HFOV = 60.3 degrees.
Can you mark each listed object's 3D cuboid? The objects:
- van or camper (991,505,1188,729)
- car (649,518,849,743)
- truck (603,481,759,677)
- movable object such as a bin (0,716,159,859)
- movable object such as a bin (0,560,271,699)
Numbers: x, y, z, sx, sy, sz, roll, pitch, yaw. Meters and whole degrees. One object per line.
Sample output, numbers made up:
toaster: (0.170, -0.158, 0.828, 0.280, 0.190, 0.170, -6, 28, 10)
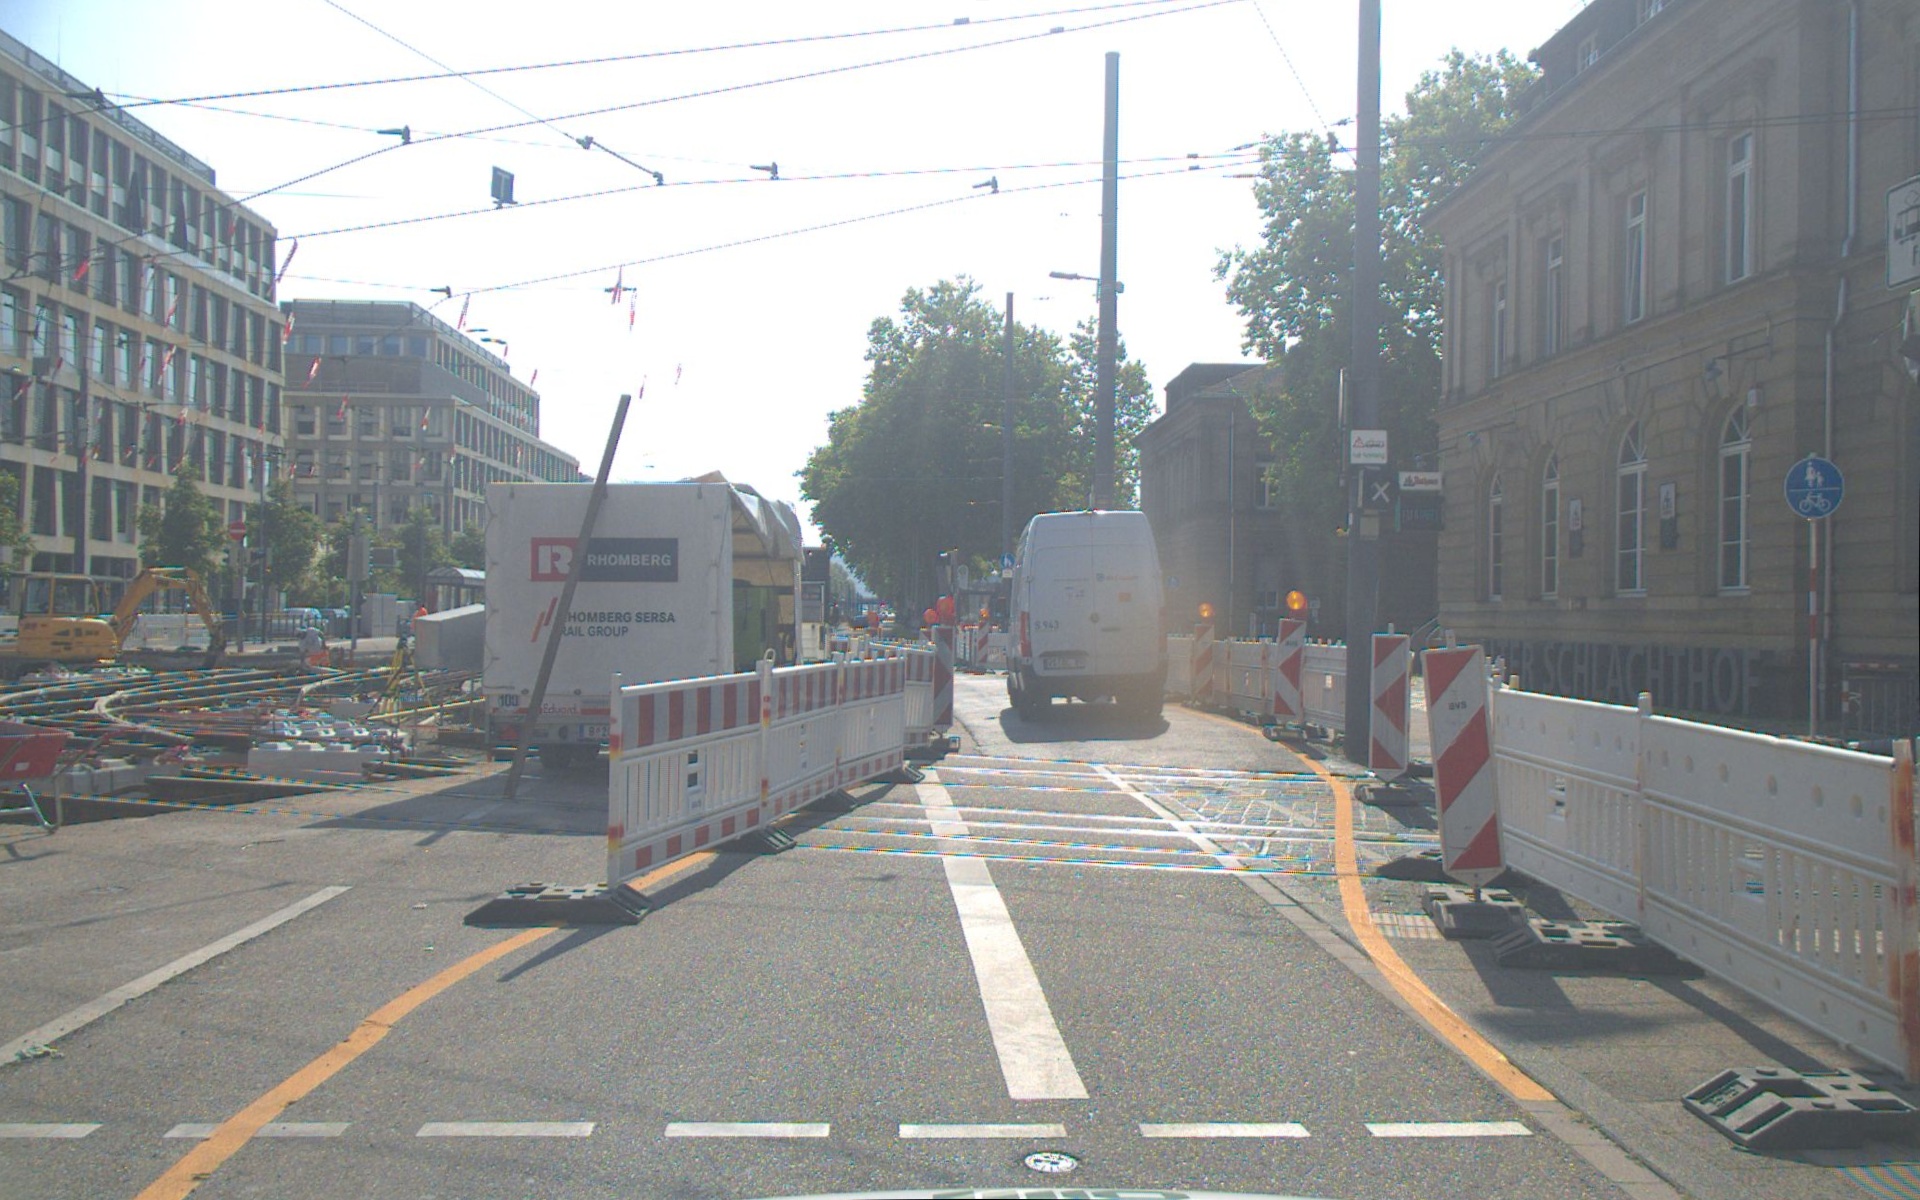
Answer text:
van or camper: (1.665, 0.219, 23.184, 2.073, 2.729, 5.247, -1, 0, -2)
car: (-2.642, 0.415, 21.831, 2.164, 2.467, 7.191, 0, -1, -5)
truck: (-6.684, -0.427, 38.587, 2.746, 3.981, 8.385, 2, -1, -15)
movable object such as a bin: (-5.758, 1.117, 10.145, 1.686, 0.726, 0.716, 0, -1, 31)
movable object such as a bin: (-20.645, 0.772, 41.282, 3.541, 3.010, 8.471, 2, -2, -3)
